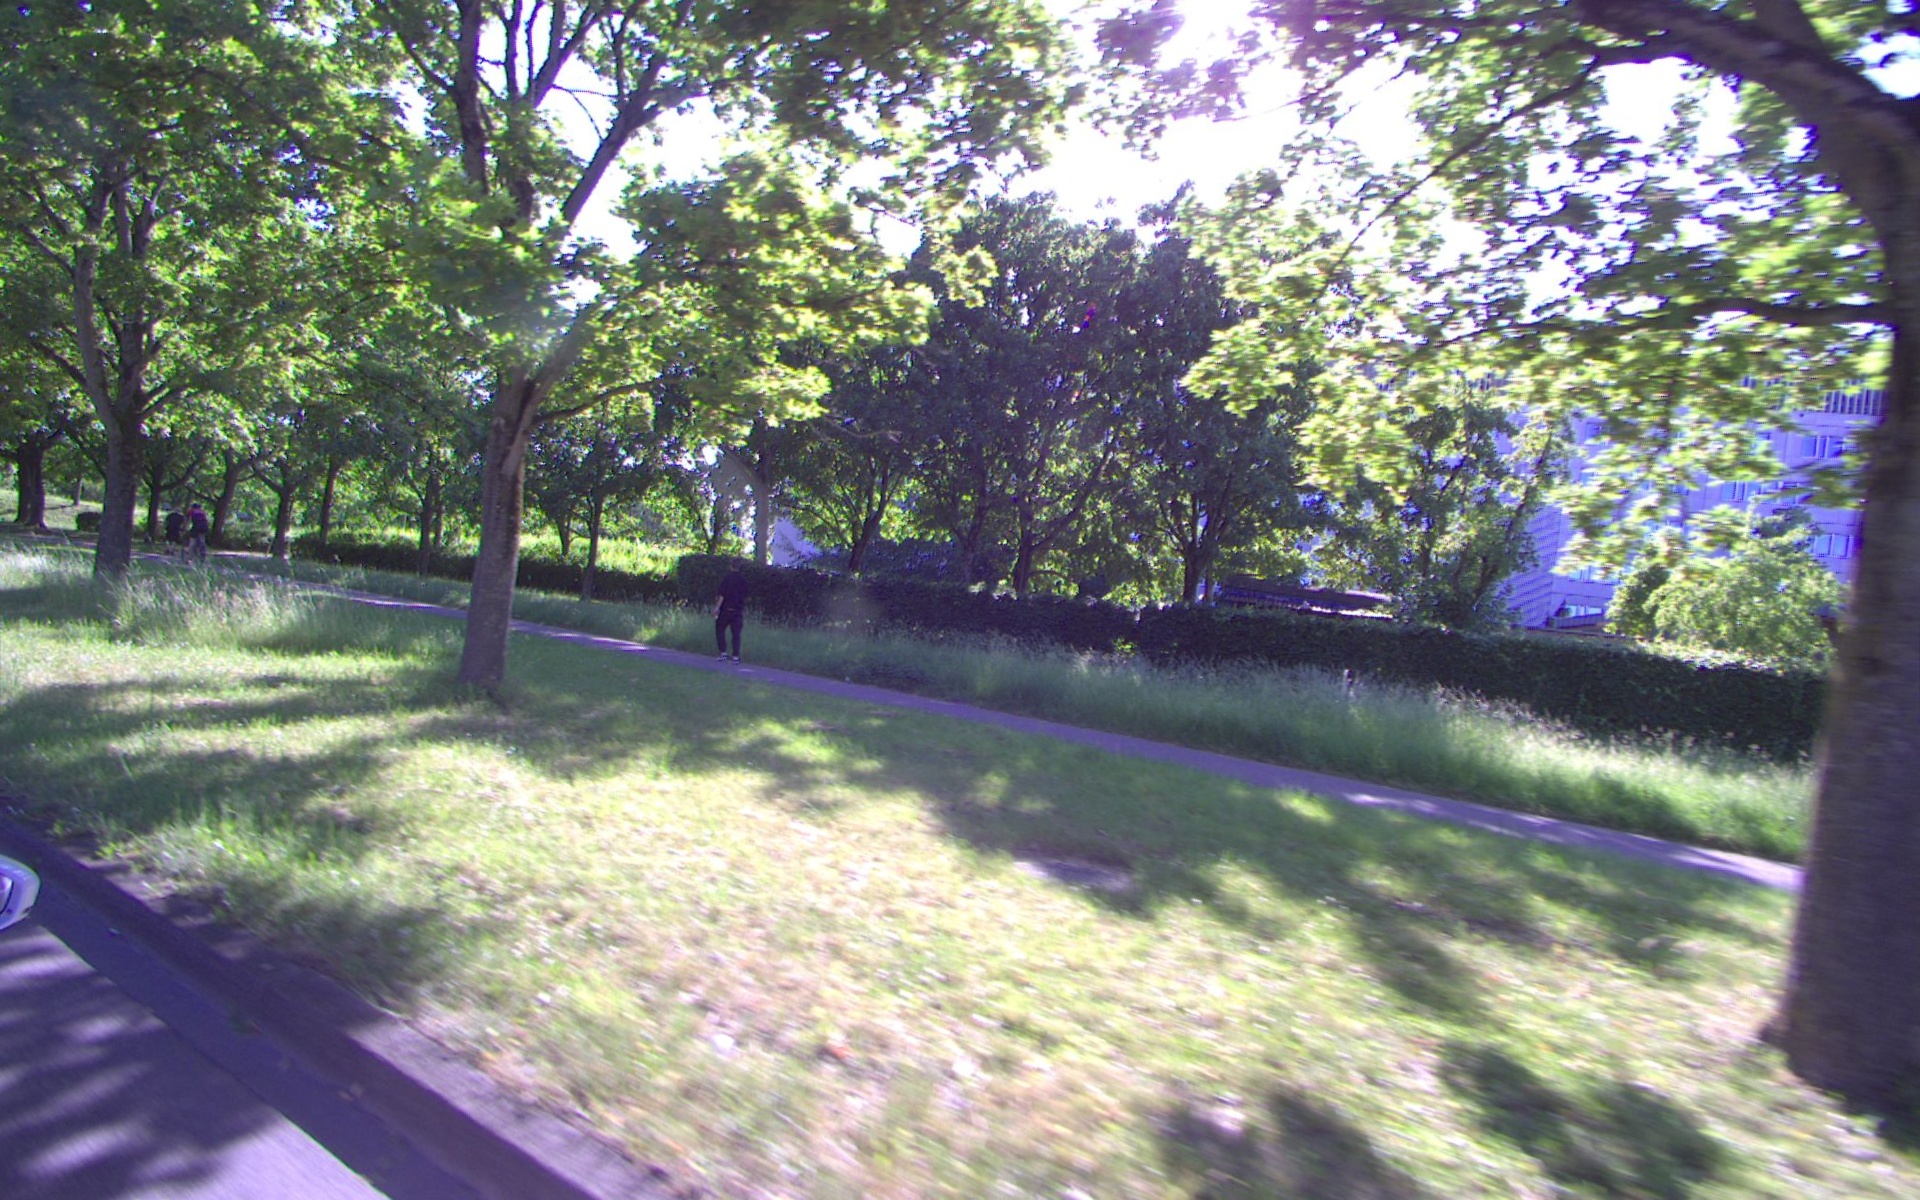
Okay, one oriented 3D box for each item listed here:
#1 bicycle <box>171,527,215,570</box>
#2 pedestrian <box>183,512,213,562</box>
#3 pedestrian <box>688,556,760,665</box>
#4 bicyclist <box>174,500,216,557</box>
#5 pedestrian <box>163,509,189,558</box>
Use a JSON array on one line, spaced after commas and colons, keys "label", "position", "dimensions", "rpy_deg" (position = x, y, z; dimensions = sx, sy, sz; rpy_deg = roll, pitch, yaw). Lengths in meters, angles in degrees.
[{"label": "bicycle", "position": [-21.450, -1.456, 28.127], "dimensions": [0.791, 1.060, 2.118], "rpy_deg": [7, 0, -40]}, {"label": "pedestrian", "position": [-27.540, -2.279, 36.353], "dimensions": [0.634, 1.712, 0.833], "rpy_deg": [6, 0, -43]}, {"label": "pedestrian", "position": [-4.200, 0.189, 17.944], "dimensions": [0.781, 1.825, 0.716], "rpy_deg": [7, 0, 34]}, {"label": "bicyclist", "position": [-21.399, -1.998, 28.127], "dimensions": [0.786, 1.468, 0.835], "rpy_deg": [6, 0, -40]}, {"label": "pedestrian", "position": [-28.009, -2.377, 35.941], "dimensions": [0.545, 1.642, 0.834], "rpy_deg": [6, 0, -43]}]
